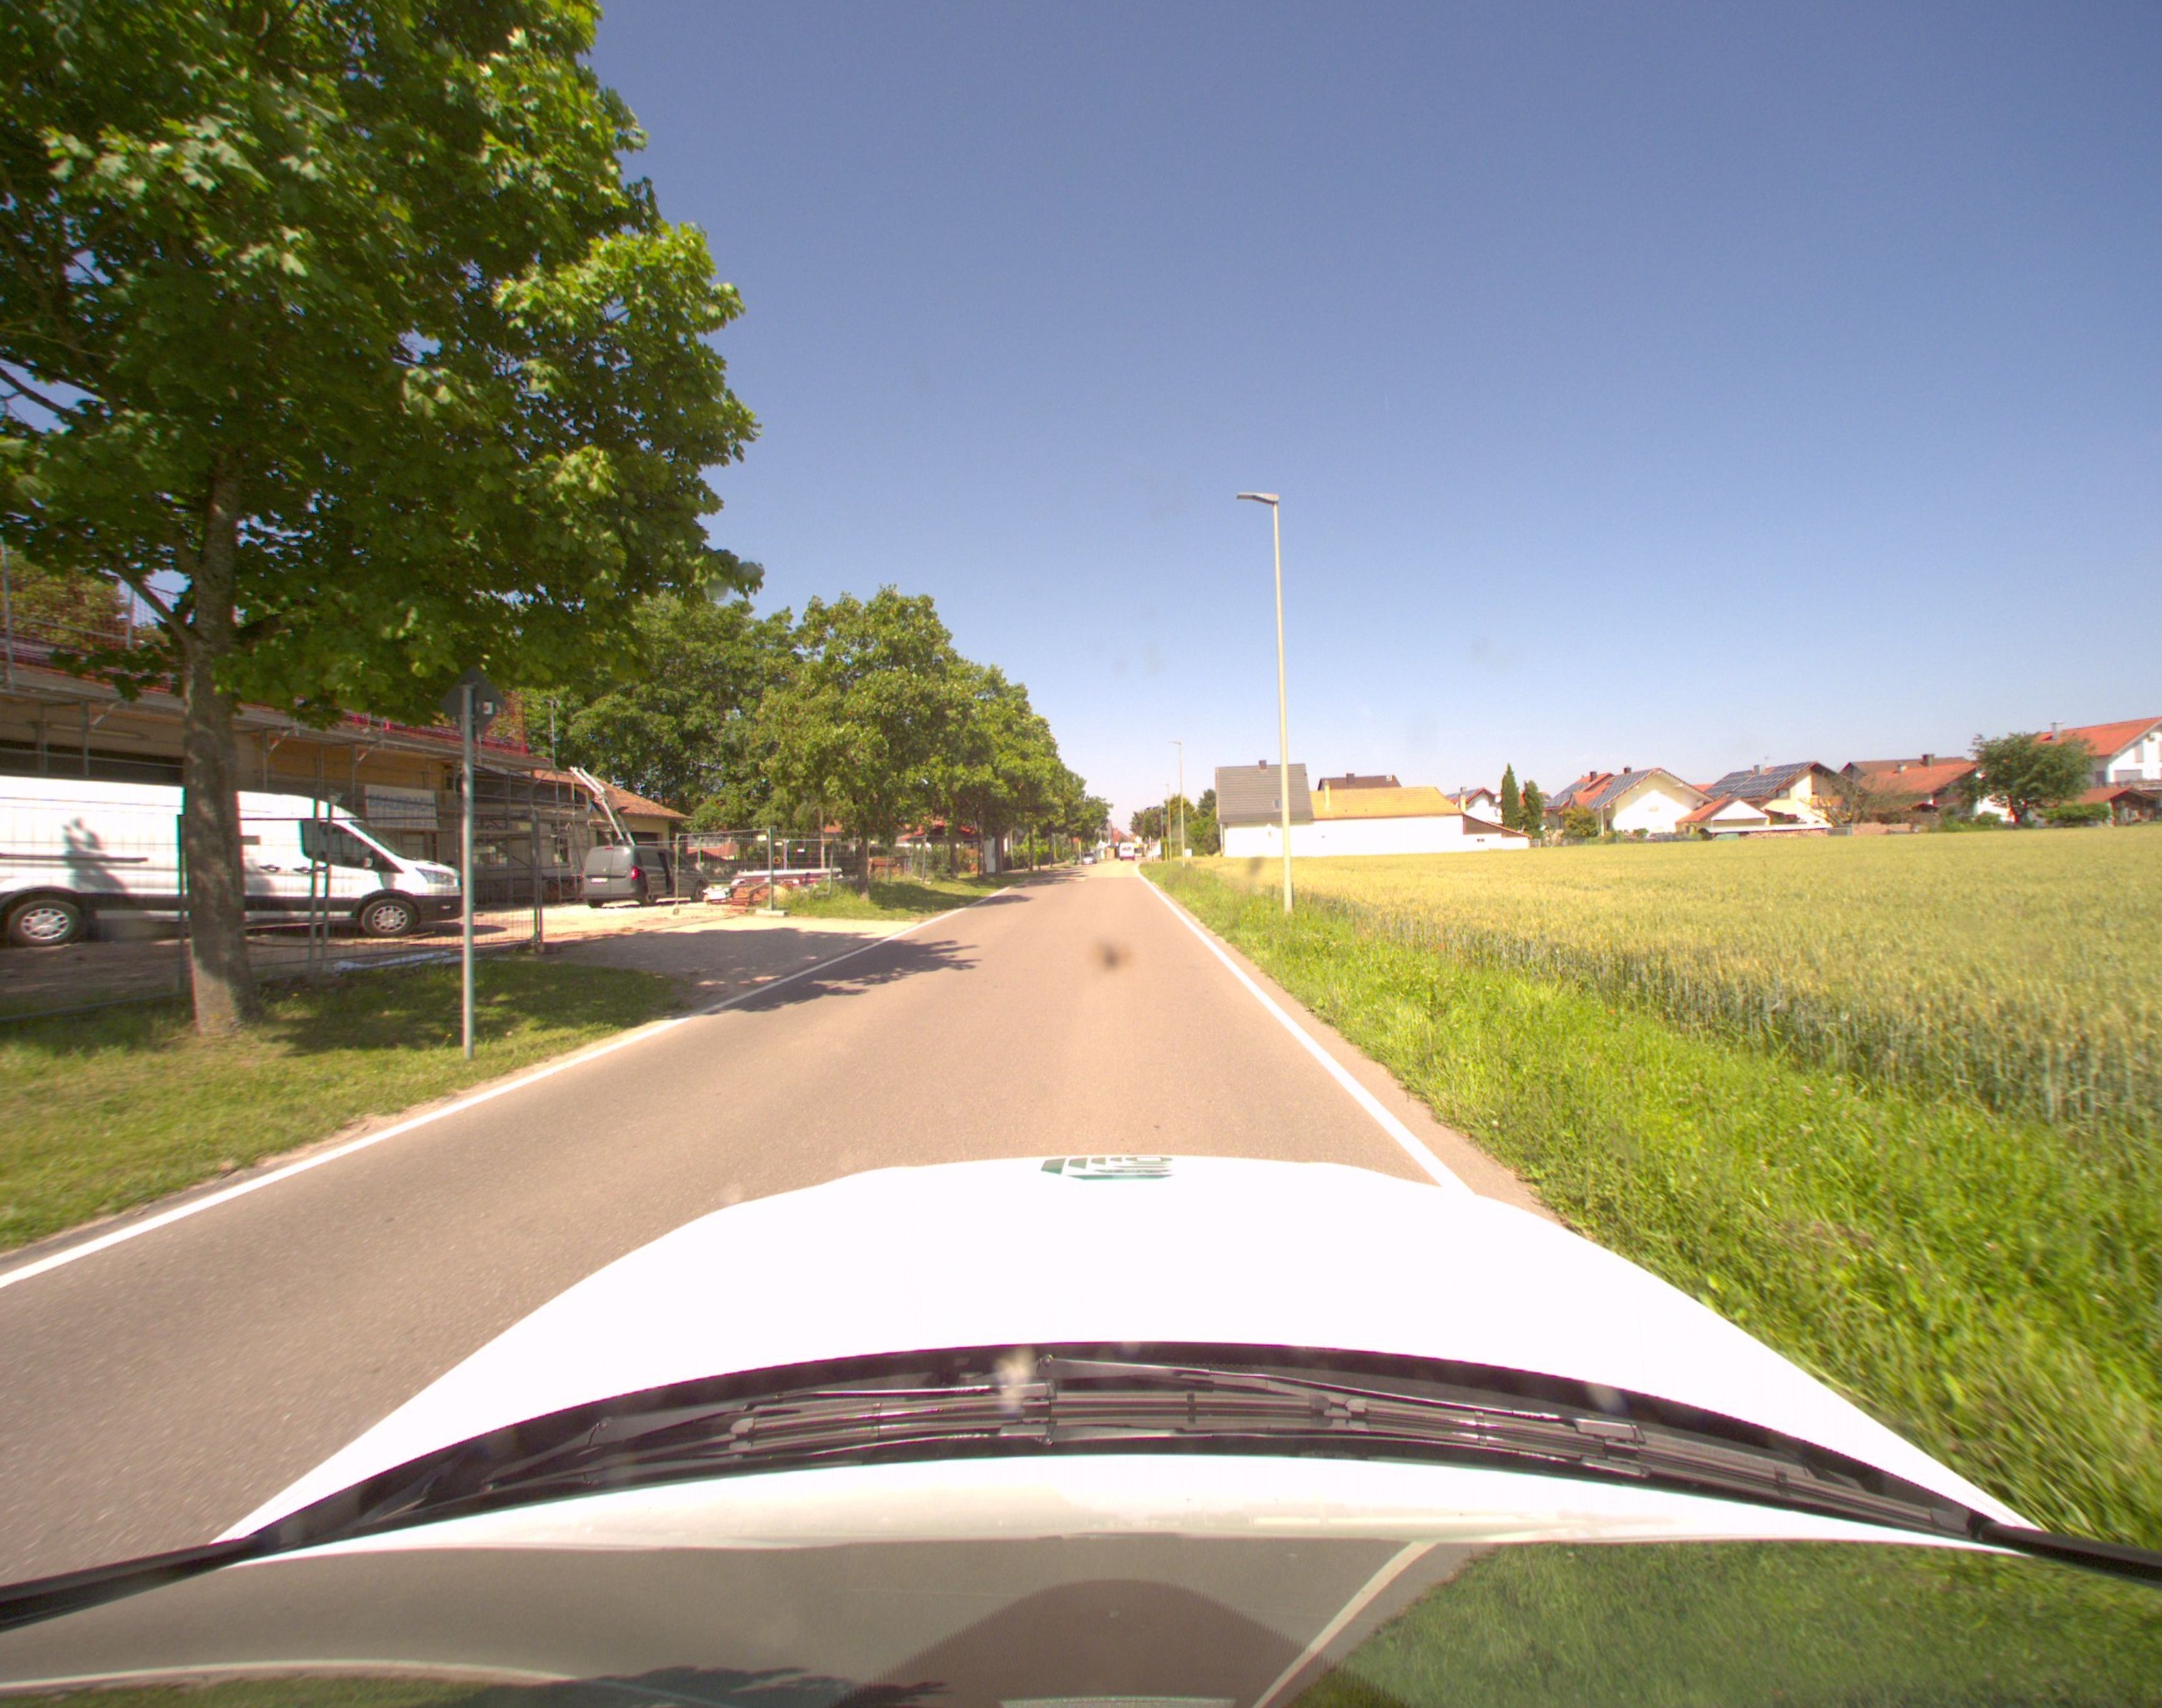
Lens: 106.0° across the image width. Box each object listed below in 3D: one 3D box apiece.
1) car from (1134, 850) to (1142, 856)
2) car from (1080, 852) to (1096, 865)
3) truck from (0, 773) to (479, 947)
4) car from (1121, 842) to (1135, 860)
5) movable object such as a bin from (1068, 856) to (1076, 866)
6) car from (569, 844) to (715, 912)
[{"bbox_3d":[14.041,-0.253,200.530,1.660,1.524,3.443,-3,0,1],"label":"car"},{"bbox_3d":[0.825,0.510,98.292,1.640,1.423,4.083,-5,0,2],"label":"car"},{"bbox_3d":[-13.942,0.107,13.787,5.956,2.484,1.978,0,-2,-35],"label":"truck"},{"bbox_3d":[6.772,-0.440,116.428,1.730,2.432,4.379,-3,0,4],"label":"car"},{"bbox_3d":[-1.045,0.774,92.896,0.706,1.079,0.644,-3,0,29],"label":"movable object such as a bin"},{"bbox_3d":[-13.246,0.668,24.927,1.963,1.838,4.330,-2,0,2],"label":"car"}]
